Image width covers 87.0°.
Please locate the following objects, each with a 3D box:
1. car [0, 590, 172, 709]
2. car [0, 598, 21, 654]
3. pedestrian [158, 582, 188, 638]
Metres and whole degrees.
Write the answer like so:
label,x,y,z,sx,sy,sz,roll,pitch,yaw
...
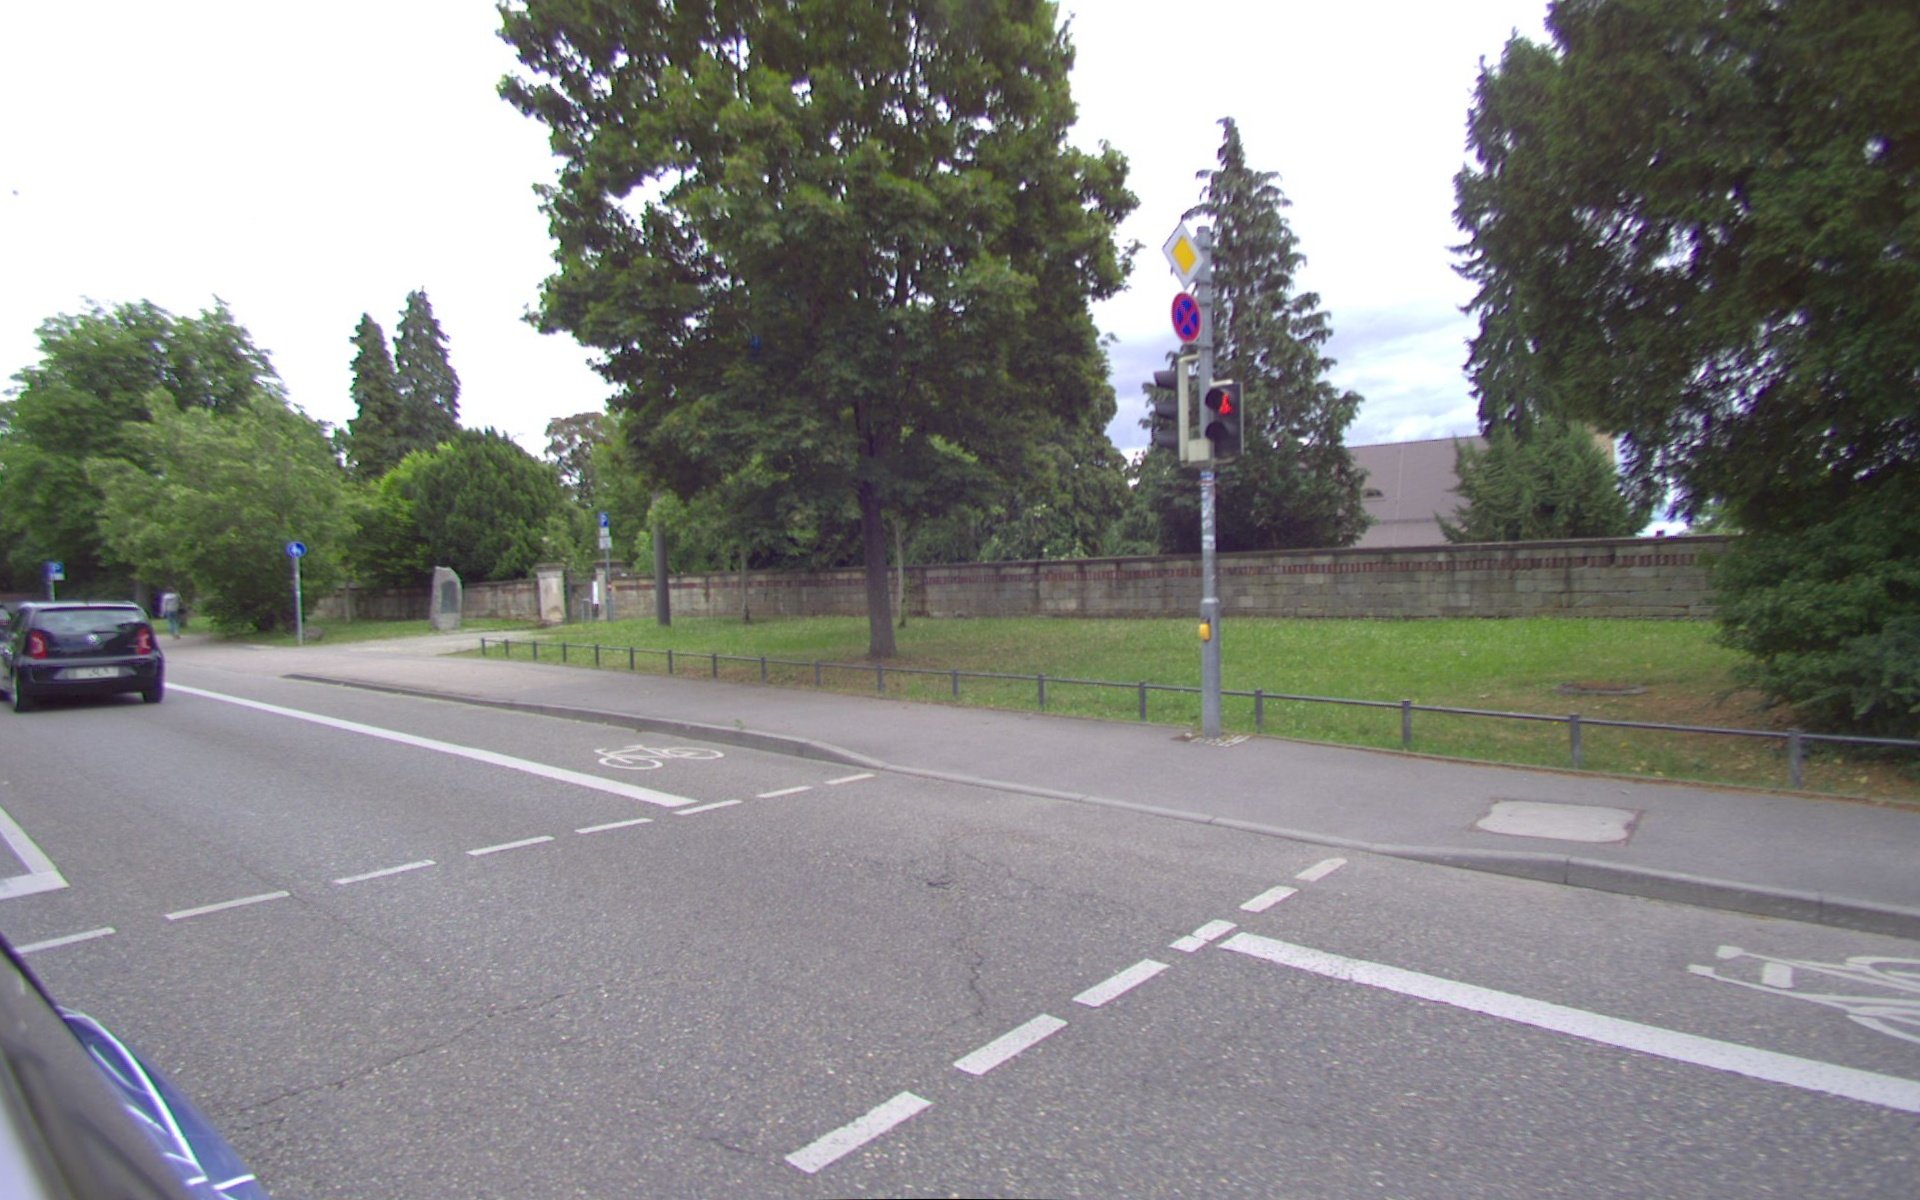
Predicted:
label,x,y,z,sx,sy,sz,roll,pitch,yaw
car,-13.001,0.630,14.728,3.825,1.459,1.647,0,2,41
car,-28.747,0.732,29.248,4.524,1.543,1.919,0,0,41
pedestrian,-26.273,0.329,33.770,0.784,1.825,0.607,0,1,41
